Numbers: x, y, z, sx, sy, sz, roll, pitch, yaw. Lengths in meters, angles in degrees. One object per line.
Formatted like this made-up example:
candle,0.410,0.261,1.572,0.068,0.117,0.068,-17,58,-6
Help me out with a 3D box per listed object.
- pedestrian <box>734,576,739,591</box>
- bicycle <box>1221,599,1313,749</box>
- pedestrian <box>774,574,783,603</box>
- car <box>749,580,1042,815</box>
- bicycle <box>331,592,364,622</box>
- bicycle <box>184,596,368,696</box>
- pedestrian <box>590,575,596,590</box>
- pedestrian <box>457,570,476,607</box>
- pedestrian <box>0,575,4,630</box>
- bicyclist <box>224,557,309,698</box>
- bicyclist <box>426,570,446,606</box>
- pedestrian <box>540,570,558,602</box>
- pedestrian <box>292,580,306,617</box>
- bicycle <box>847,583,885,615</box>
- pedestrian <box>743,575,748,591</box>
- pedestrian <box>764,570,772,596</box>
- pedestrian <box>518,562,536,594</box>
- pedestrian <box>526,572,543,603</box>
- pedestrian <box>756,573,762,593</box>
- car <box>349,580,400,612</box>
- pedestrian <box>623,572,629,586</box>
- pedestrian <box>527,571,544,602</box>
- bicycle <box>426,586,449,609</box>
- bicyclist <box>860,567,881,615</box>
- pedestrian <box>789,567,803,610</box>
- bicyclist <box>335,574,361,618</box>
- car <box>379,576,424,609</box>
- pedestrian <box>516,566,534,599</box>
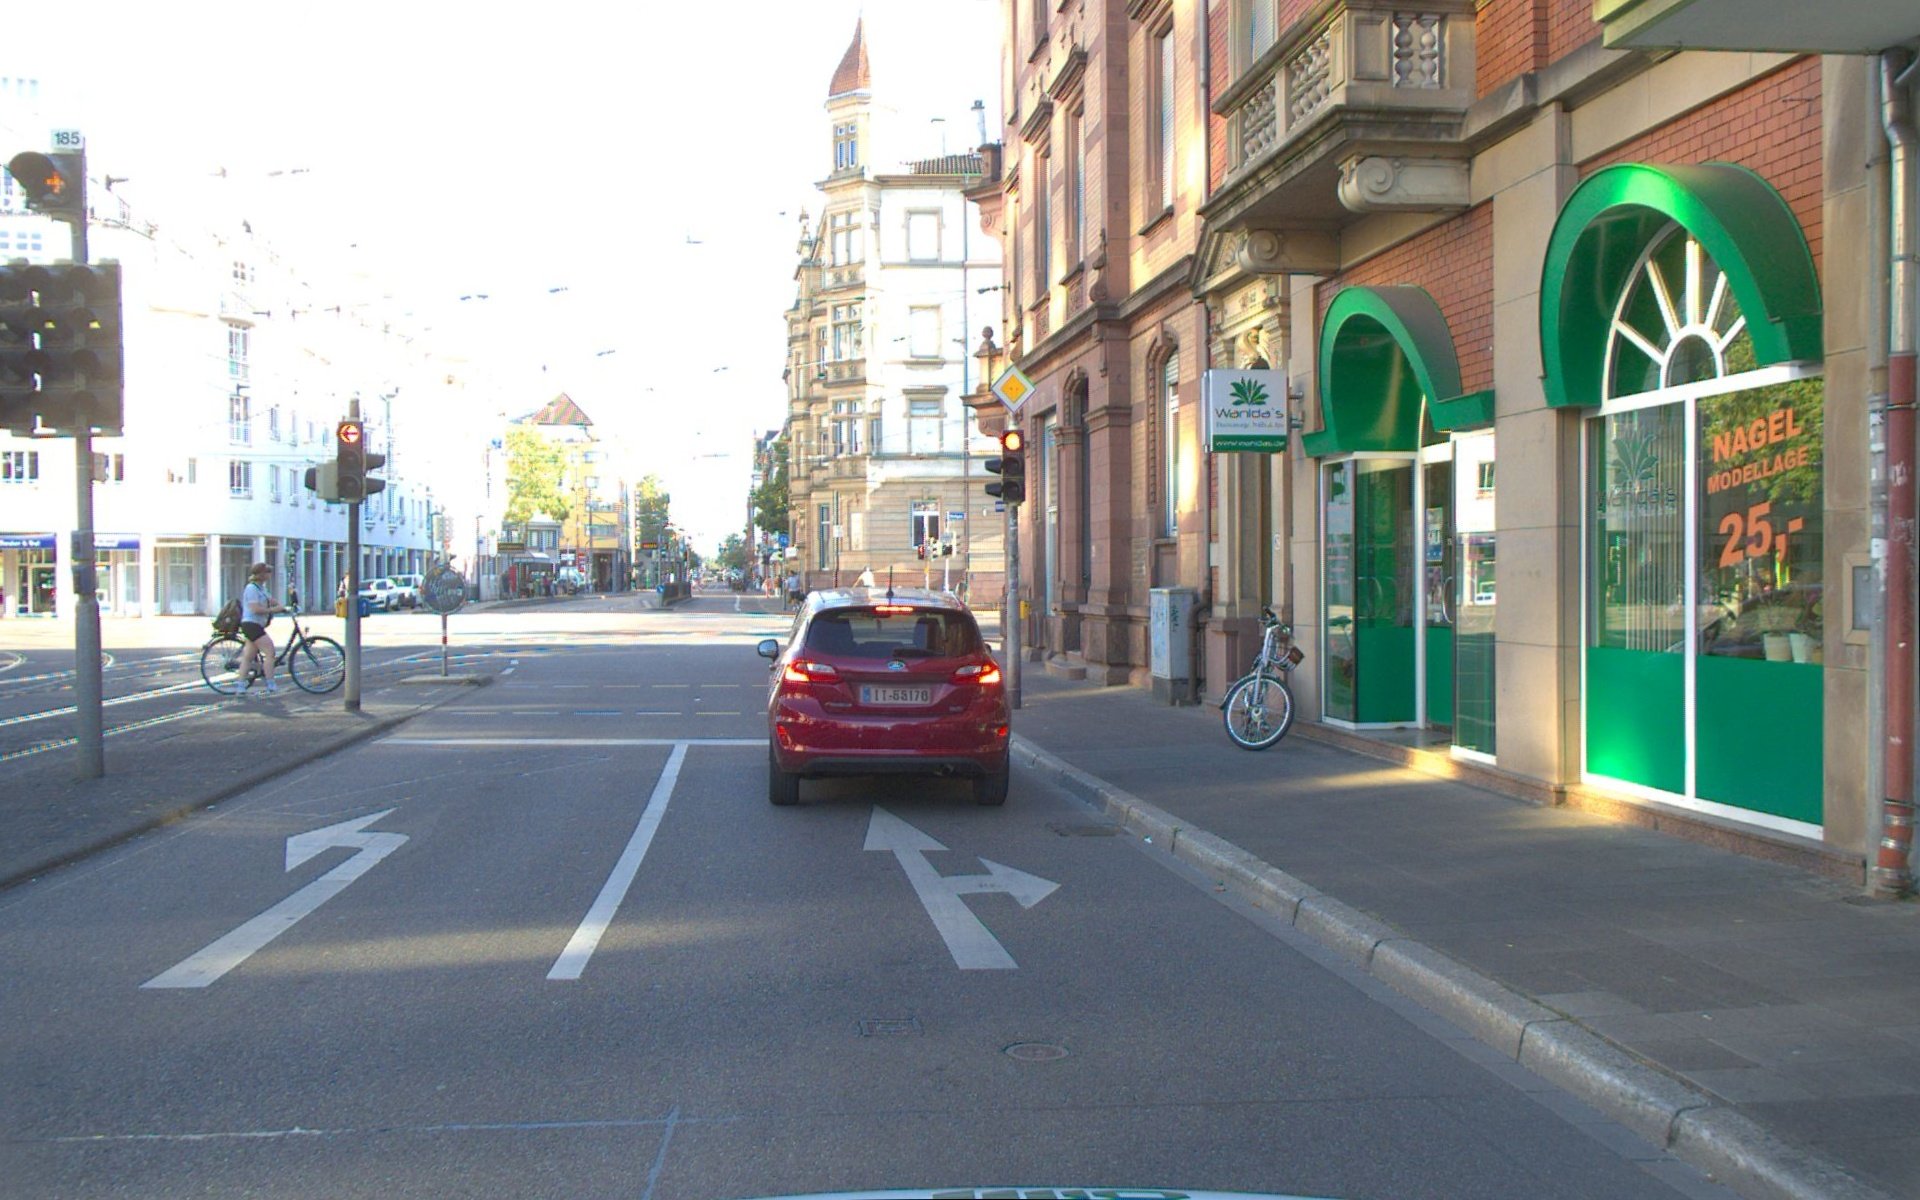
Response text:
pedestrian,-28.242,-2.074,209.217,0.566,1.920,0.668,-1,1,-8
bicycle,2.662,0.610,14.374,0.700,1.172,1.656,-2,1,10
pedestrian,-12.969,-0.794,118.063,0.634,2.049,0.682,0,0,-8
car,-0.648,0.605,12.568,1.722,1.492,3.936,1,0,-10
bicycle,-24.728,0.265,66.770,0.792,1.167,2.046,-1,1,-8
bicycle,-8.407,0.554,20.386,1.978,1.198,0.628,0,0,-4
pedestrian,-38.331,-1.839,172.550,0.514,1.514,0.582,-1,1,-6
pedestrian,-23.146,-0.540,77.616,0.753,1.761,0.572,0,0,-6
pedestrian,-36.578,0.091,62.229,0.936,2.049,0.928,-1,1,-36
bicyclist,-8.375,0.324,19.997,0.715,1.655,0.765,0,0,-4
bicyclist,-27.276,-0.634,86.120,0.792,1.853,0.992,-1,1,-8
pedestrian,-26.752,-0.895,107.584,1.026,2.049,0.957,-1,1,-10
pedestrian,-30.703,-0.091,76.810,0.515,1.711,0.484,-1,1,-15
bicycle,-3.392,-0.035,59.654,1.460,1.108,0.524,0,1,43
pedestrian,-26.664,-2.094,205.306,0.566,1.920,0.630,-1,1,-7
pedestrian,-15.223,-1.317,131.347,0.565,2.049,0.630,-1,0,-2
pedestrian,-28.152,-1.420,107.423,1.026,2.049,0.957,-1,1,-10
pedestrian,-28.604,-0.848,111.280,1.026,2.049,0.957,-1,1,-10
pedestrian,-21.174,-1.819,174.164,0.566,2.049,0.630,-1,1,-7
car,-29.674,-0.205,83.929,1.732,1.573,3.456,-1,1,-7
pedestrian,-40.498,-2.560,200.378,0.620,1.632,0.574,-1,1,-25
pedestrian,-28.068,-0.892,109.357,1.026,2.049,0.957,-1,1,-10
bicycle,-27.287,-0.119,86.381,0.792,1.167,2.007,-1,1,-8
bicyclist,-3.216,-0.323,59.486,0.535,1.705,0.498,0,1,42
pedestrian,-7.818,-0.565,78.878,0.639,2.049,0.758,-1,0,-9
bicyclist,-24.748,-0.178,66.855,0.792,1.756,0.793,-1,1,-8
car,-30.809,-0.409,91.292,1.669,1.748,3.558,-1,1,-8
pedestrian,-27.613,-1.111,105.046,0.938,2.049,1.047,-1,1,-8
